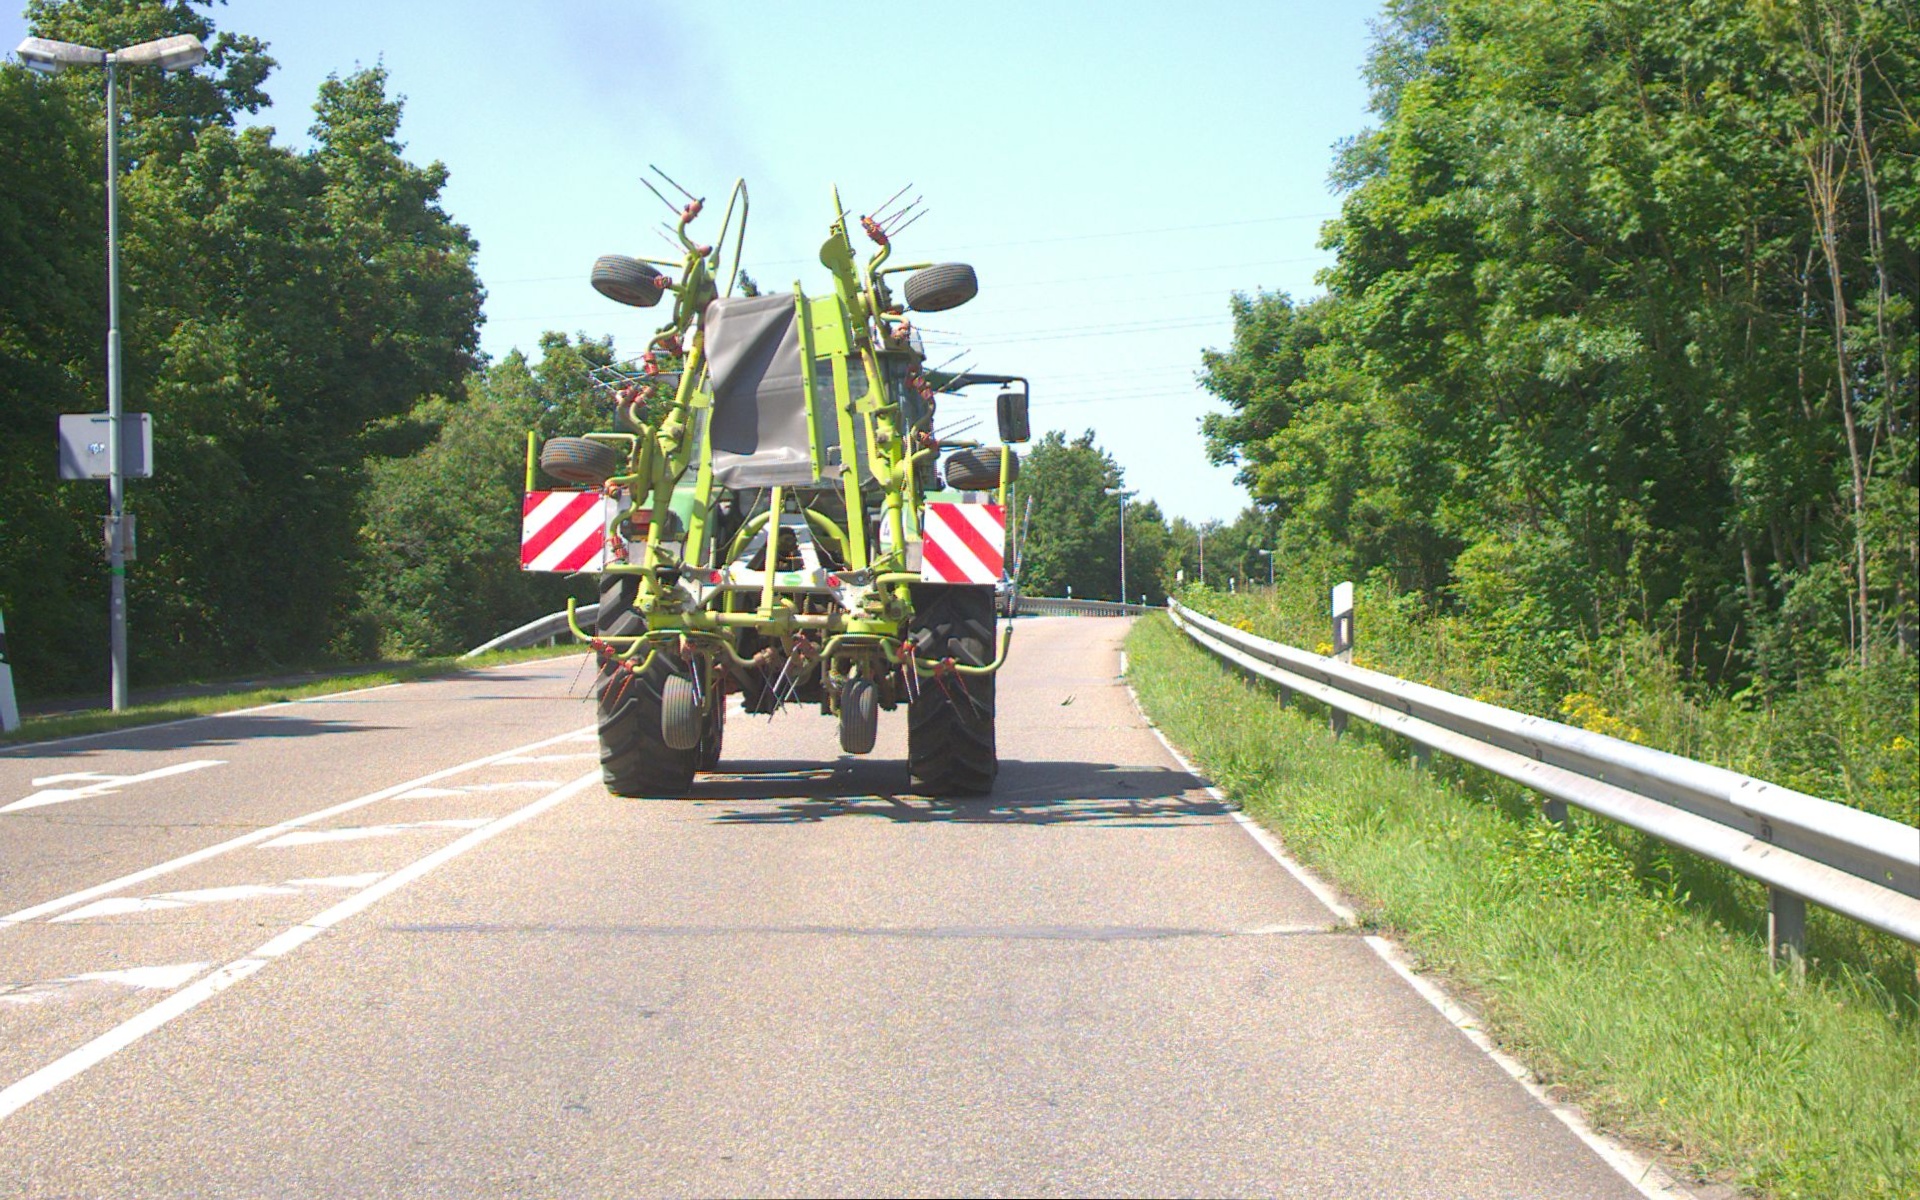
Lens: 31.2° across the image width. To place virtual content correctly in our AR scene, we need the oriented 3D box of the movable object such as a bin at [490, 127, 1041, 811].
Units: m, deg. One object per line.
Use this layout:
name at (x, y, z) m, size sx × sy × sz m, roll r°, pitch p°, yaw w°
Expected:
movable object such as a bin at (-0.924, -0.660, 20.178) m, size 2.755 × 3.432 × 5.669 m, roll 0°, pitch 0°, yaw 1°

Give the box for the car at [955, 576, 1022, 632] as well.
car at (0.843, 0.117, 99.205) m, size 1.739 × 1.451 × 3.888 m, roll 5°, pitch 0°, yaw 2°
